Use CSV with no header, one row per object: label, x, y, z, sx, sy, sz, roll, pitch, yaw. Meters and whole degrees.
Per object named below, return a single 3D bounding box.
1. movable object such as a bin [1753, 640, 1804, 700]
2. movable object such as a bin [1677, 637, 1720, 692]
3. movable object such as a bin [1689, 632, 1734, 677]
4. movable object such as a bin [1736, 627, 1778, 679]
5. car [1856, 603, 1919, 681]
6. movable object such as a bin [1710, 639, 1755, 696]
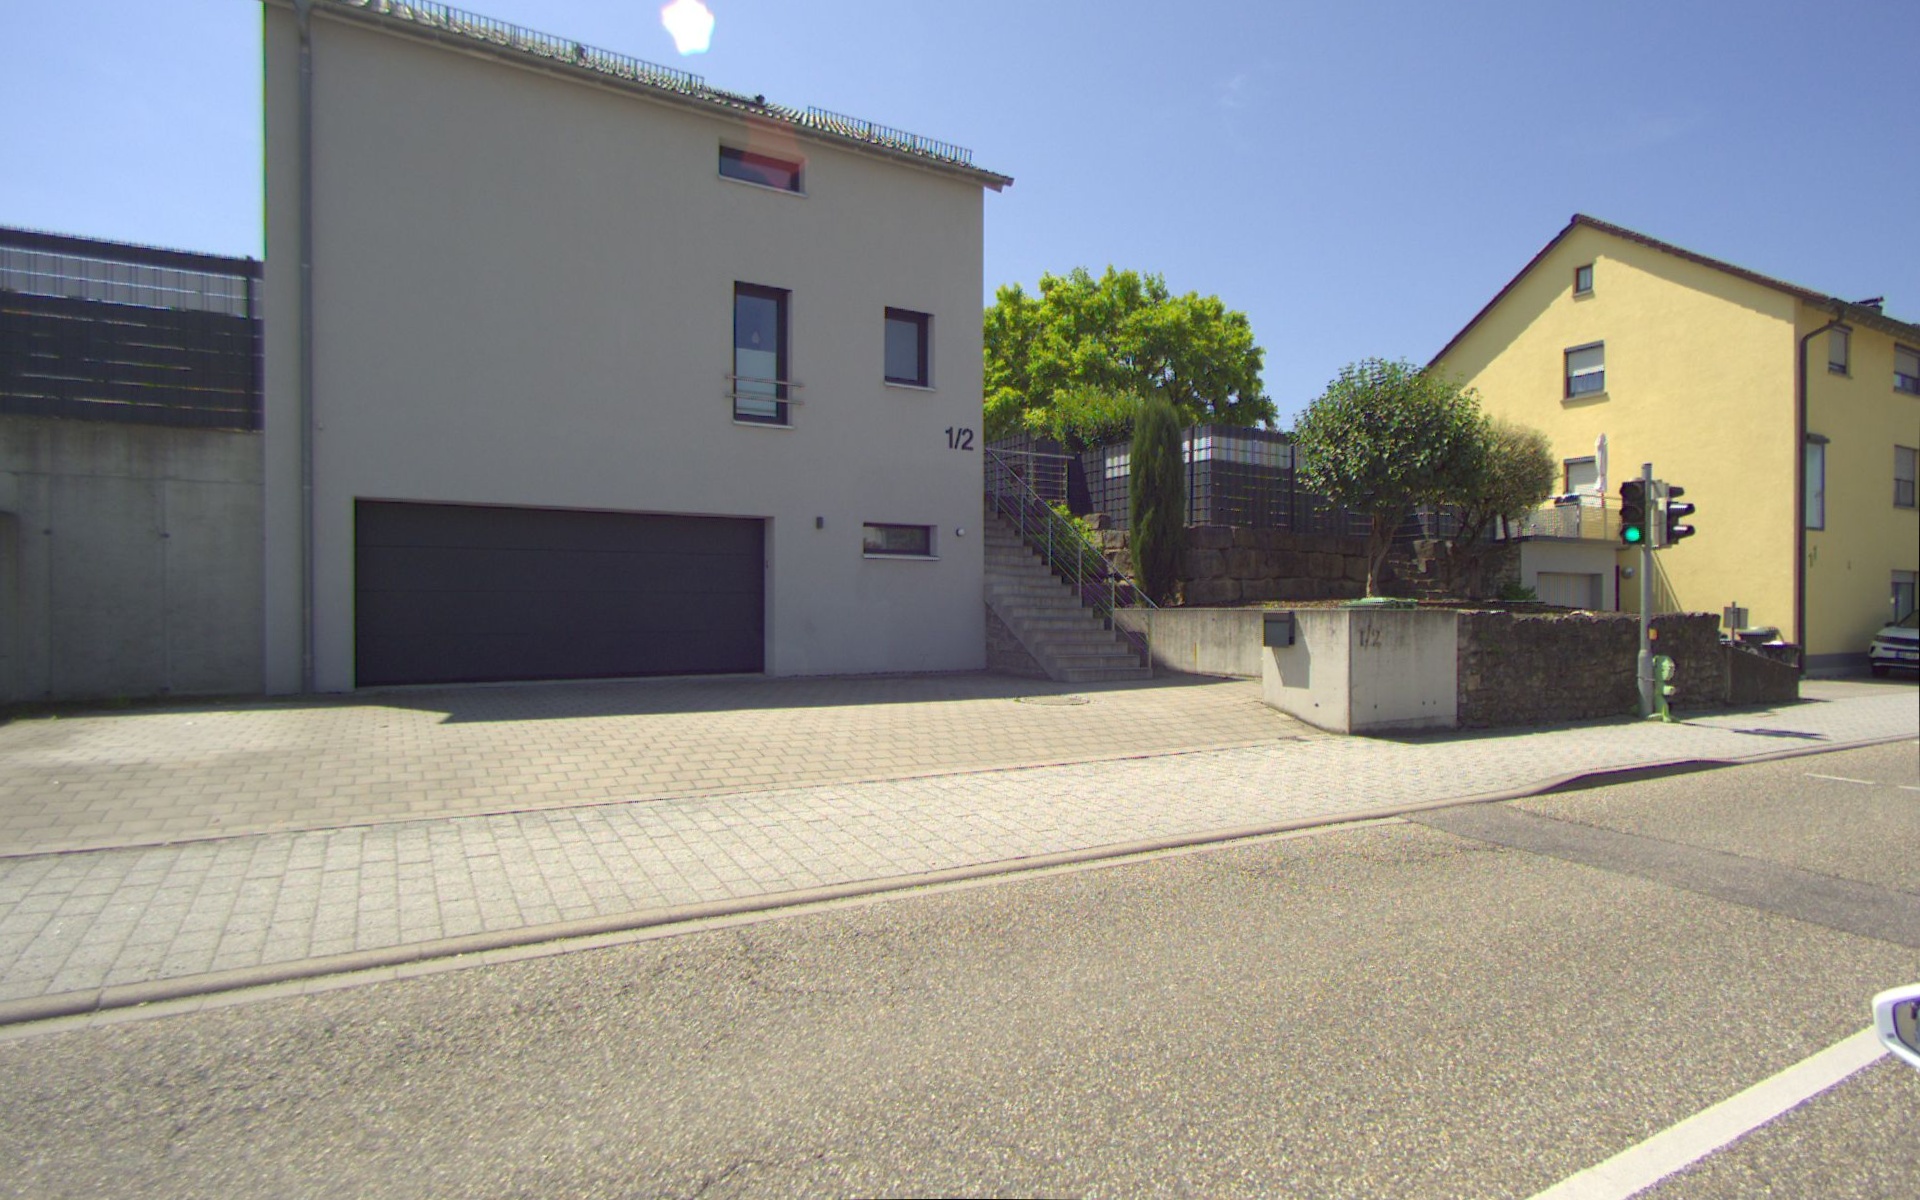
movable object such as a bin,13.747,1.160,16.875,0.547,0.961,0.498,1,1,-31
movable object such as a bin,13.209,1.150,17.965,0.525,0.950,0.444,1,0,-31
movable object such as a bin,16.081,1.160,21.505,0.601,0.922,0.594,1,0,-31
movable object such as a bin,16.683,1.107,21.025,0.601,1.057,0.498,1,0,-31
car,21.352,0.896,21.721,4.138,1.573,1.722,1,0,-30
movable object such as a bin,13.488,1.169,17.537,0.555,0.941,0.444,1,1,-31
